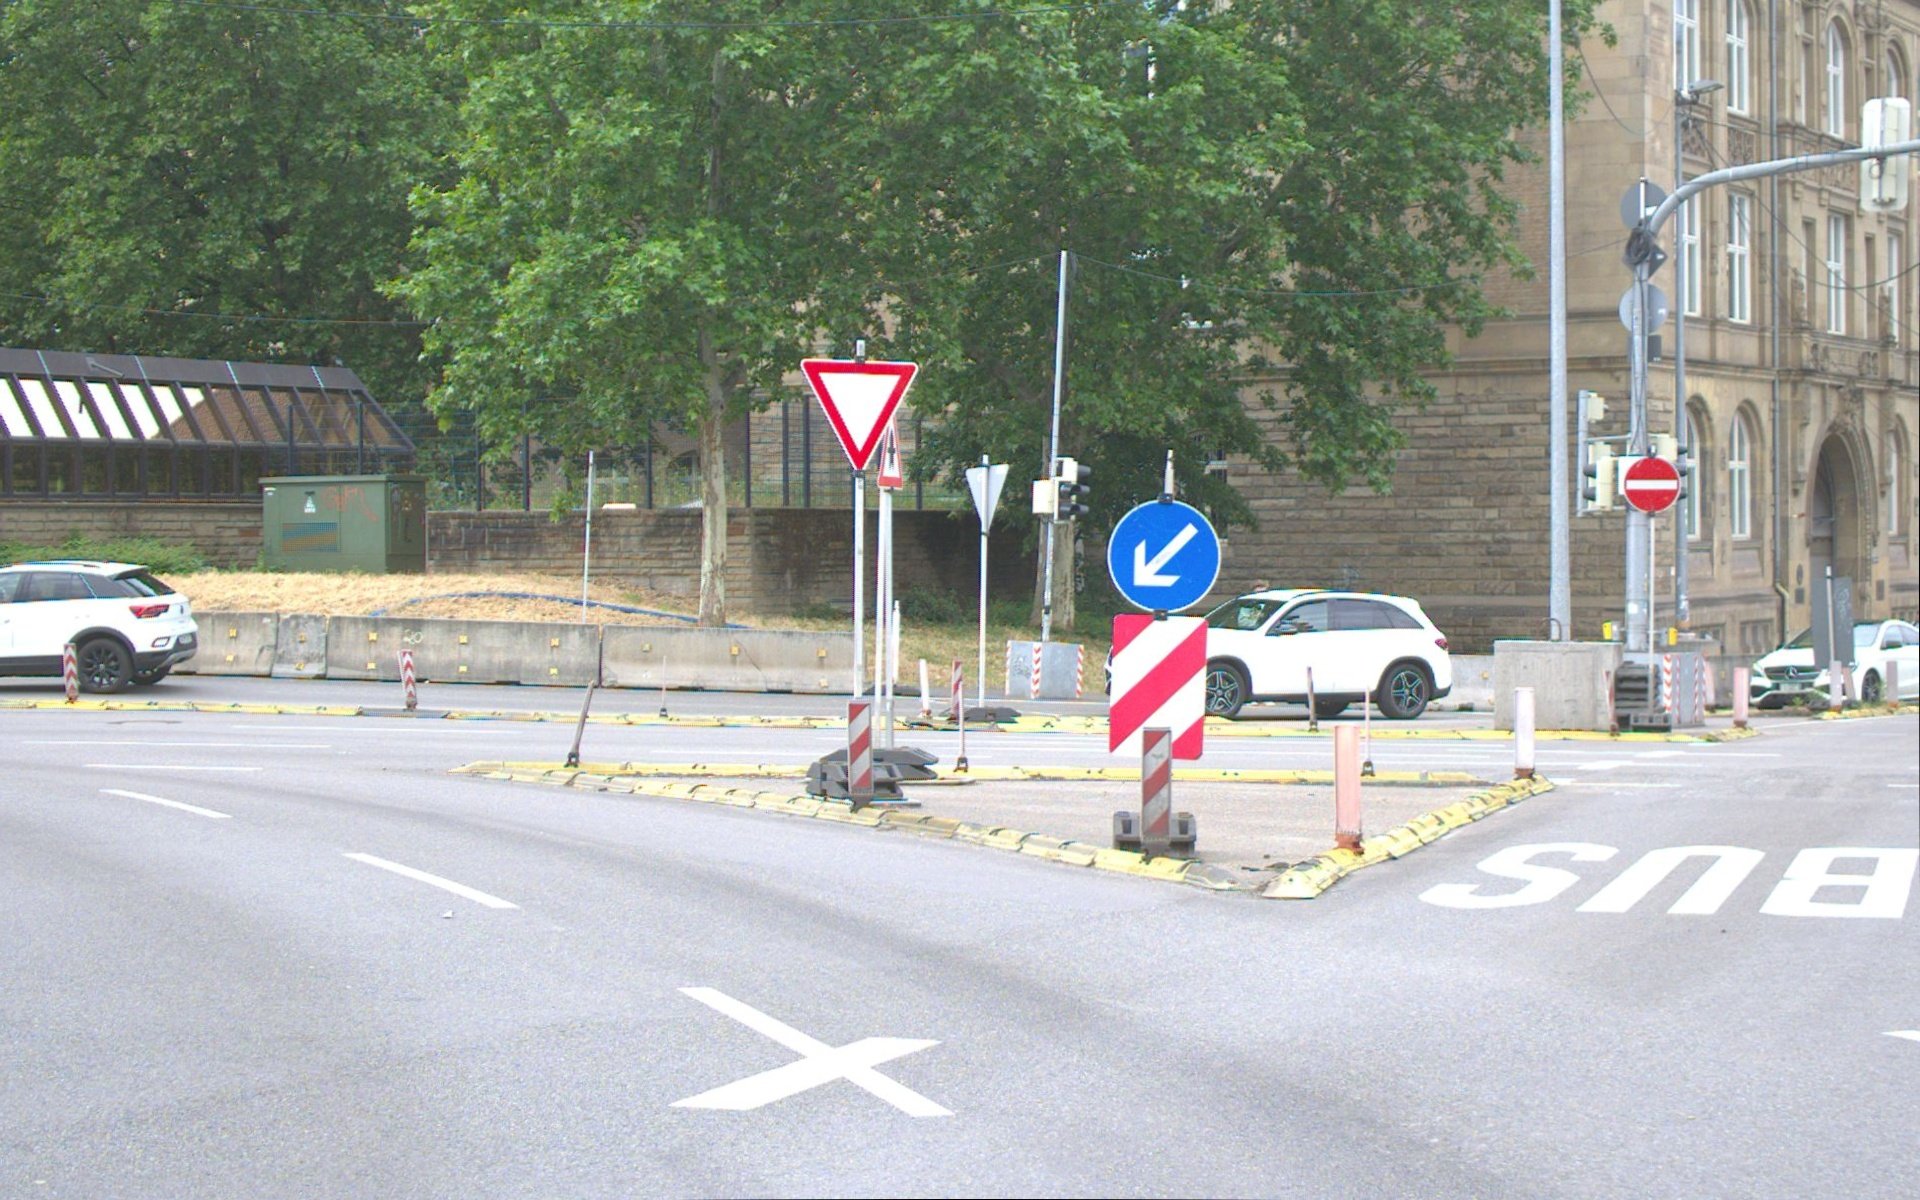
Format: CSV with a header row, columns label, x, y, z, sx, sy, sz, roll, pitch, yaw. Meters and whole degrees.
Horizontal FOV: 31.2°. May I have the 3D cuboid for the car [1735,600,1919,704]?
label,x,y,z,sx,sy,sz,roll,pitch,yaw
car,13.651,0.755,52.410,1.738,1.430,4.371,2,2,41

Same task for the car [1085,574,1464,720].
label,x,y,z,sx,sy,sz,roll,pitch,yaw
car,4.017,0.603,43.658,4.536,1.637,1.817,3,0,-31

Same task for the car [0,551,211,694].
label,x,y,z,sx,sy,sz,roll,pitch,yaw
car,-11.532,0.230,42.016,4.317,1.562,1.756,1,4,4

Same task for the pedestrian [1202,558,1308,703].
label,x,y,z,sx,sy,sz,roll,pitch,yaw
pedestrian,4.138,0.422,48.342,1.190,2.007,1.204,0,0,-12
